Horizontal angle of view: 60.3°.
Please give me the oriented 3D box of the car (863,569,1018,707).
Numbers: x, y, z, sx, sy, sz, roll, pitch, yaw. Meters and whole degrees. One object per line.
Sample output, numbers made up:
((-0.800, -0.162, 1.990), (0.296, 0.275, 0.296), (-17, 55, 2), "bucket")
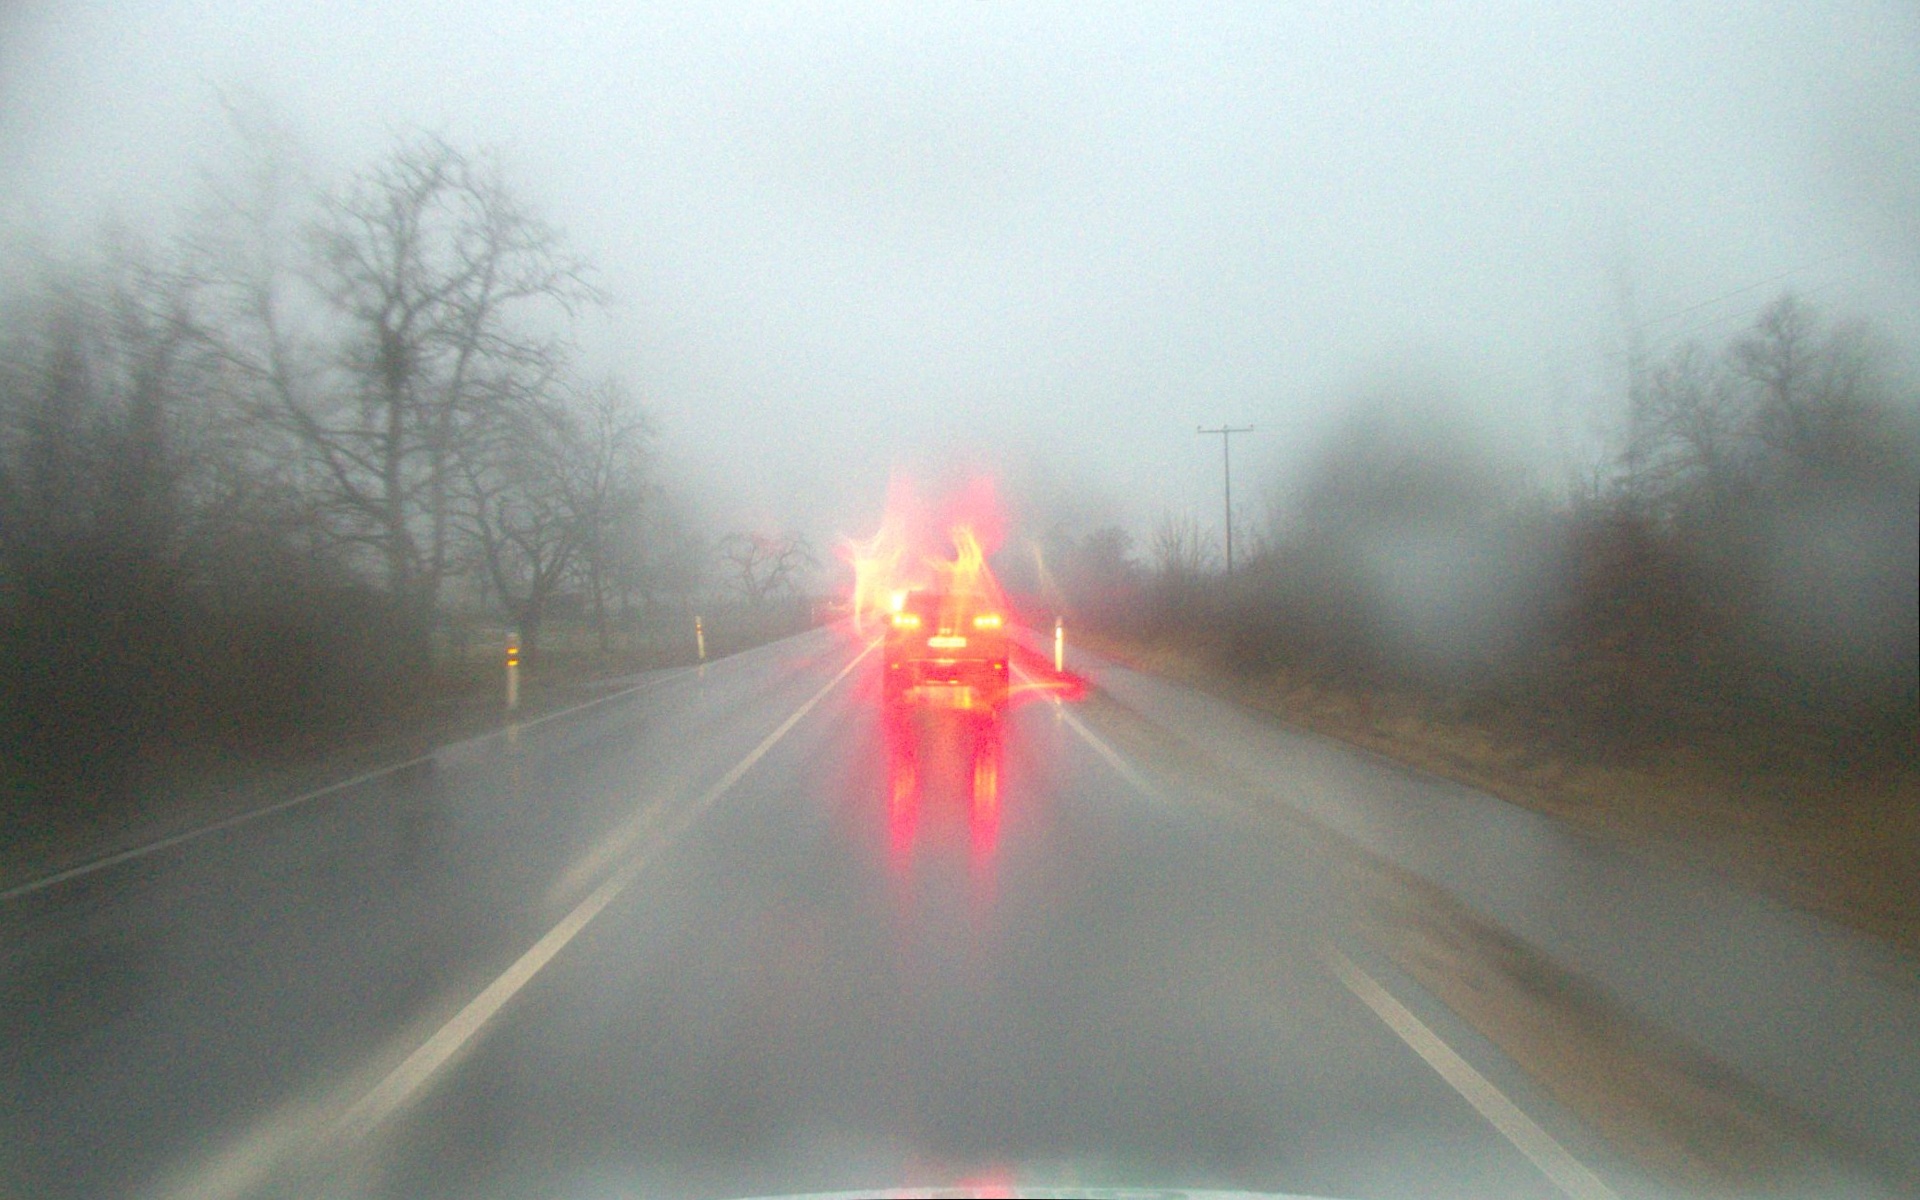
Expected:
((-0.302, 0.499, 24.847), (2.077, 1.852, 4.979), (0, 0, -1), "car")
